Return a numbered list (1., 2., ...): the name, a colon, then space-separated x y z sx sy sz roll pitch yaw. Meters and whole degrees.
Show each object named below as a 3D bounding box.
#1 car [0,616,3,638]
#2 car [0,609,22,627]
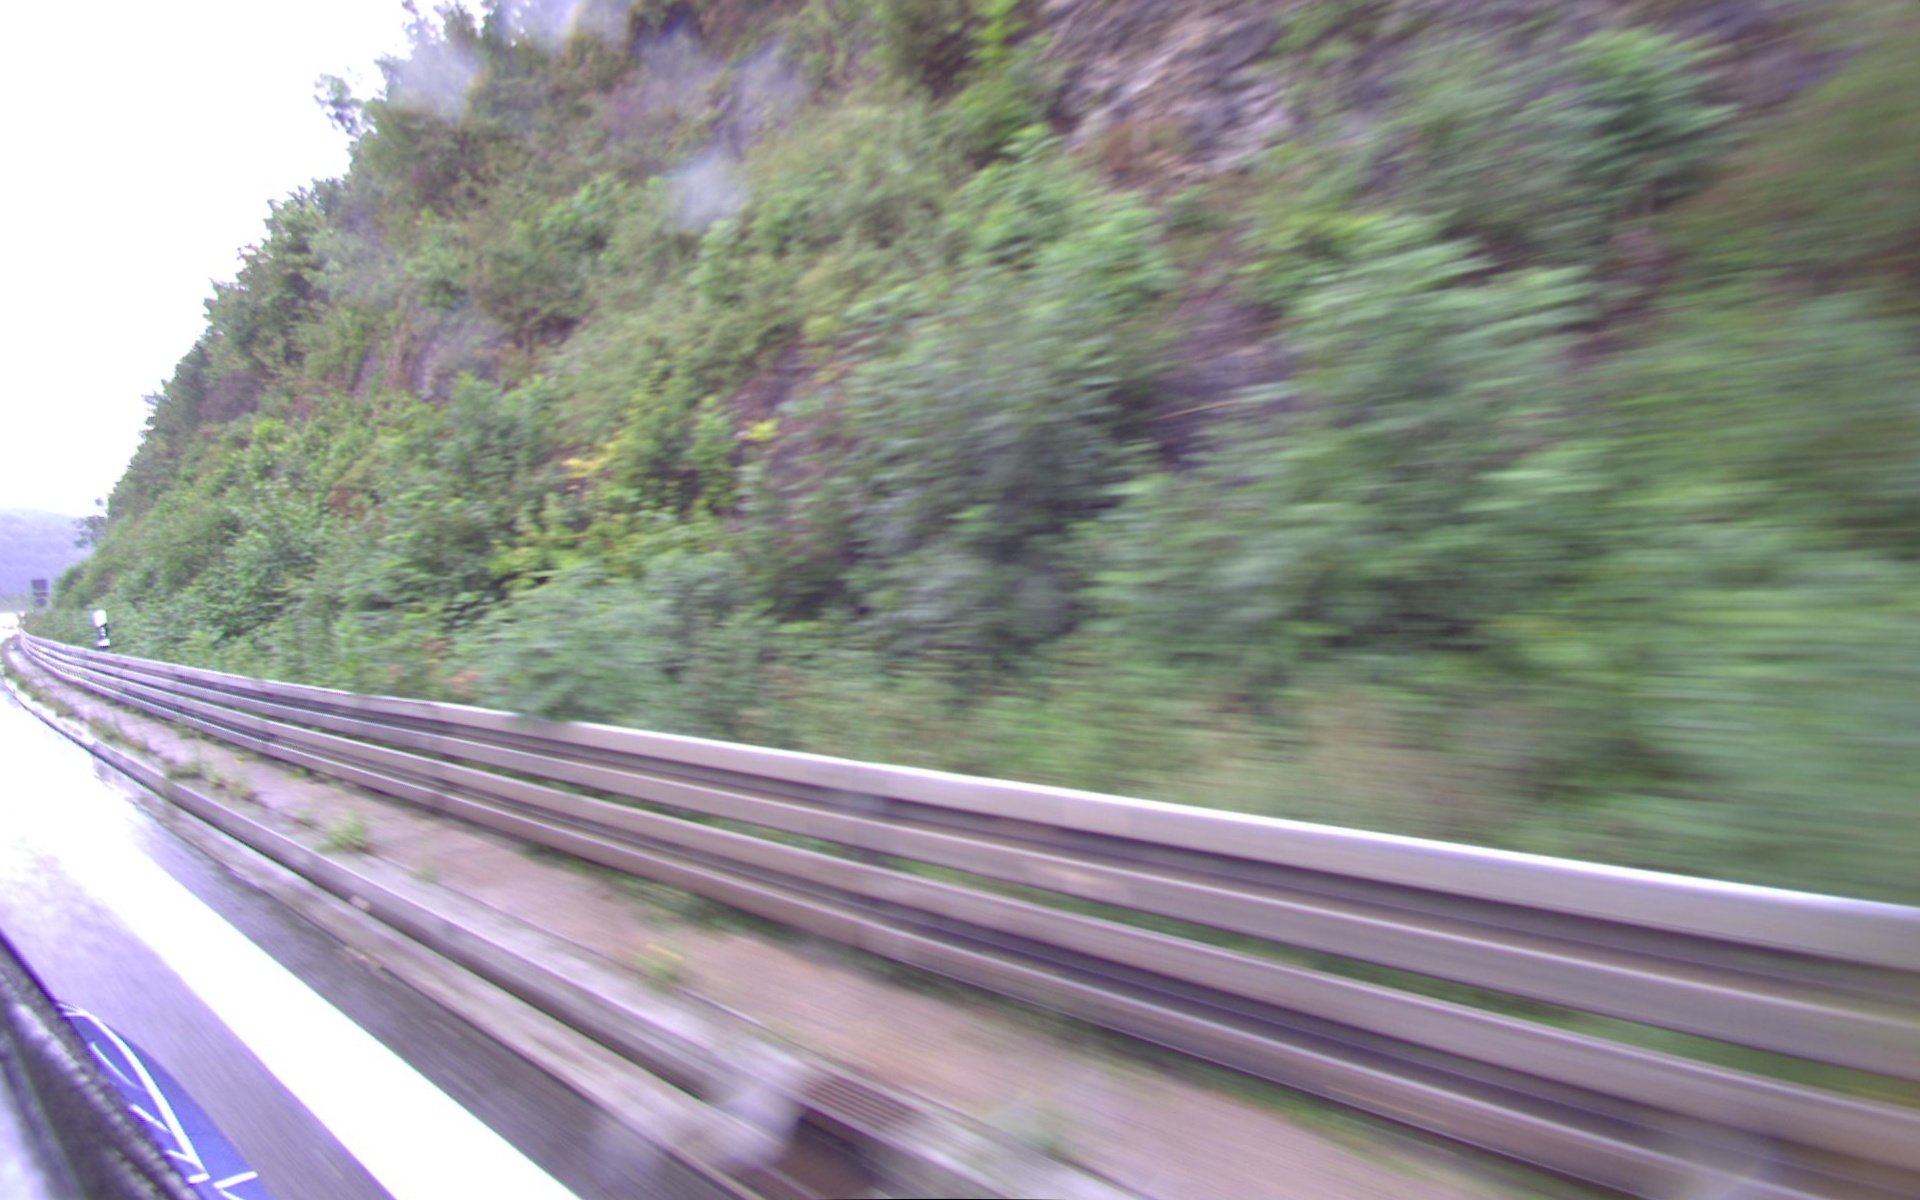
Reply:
1. car: -86.243 2.425 89.850 3.753 1.920 1.570 -1 -1 43
2. car: -110.425 2.129 117.714 1.882 2.029 4.003 0 0 -44
